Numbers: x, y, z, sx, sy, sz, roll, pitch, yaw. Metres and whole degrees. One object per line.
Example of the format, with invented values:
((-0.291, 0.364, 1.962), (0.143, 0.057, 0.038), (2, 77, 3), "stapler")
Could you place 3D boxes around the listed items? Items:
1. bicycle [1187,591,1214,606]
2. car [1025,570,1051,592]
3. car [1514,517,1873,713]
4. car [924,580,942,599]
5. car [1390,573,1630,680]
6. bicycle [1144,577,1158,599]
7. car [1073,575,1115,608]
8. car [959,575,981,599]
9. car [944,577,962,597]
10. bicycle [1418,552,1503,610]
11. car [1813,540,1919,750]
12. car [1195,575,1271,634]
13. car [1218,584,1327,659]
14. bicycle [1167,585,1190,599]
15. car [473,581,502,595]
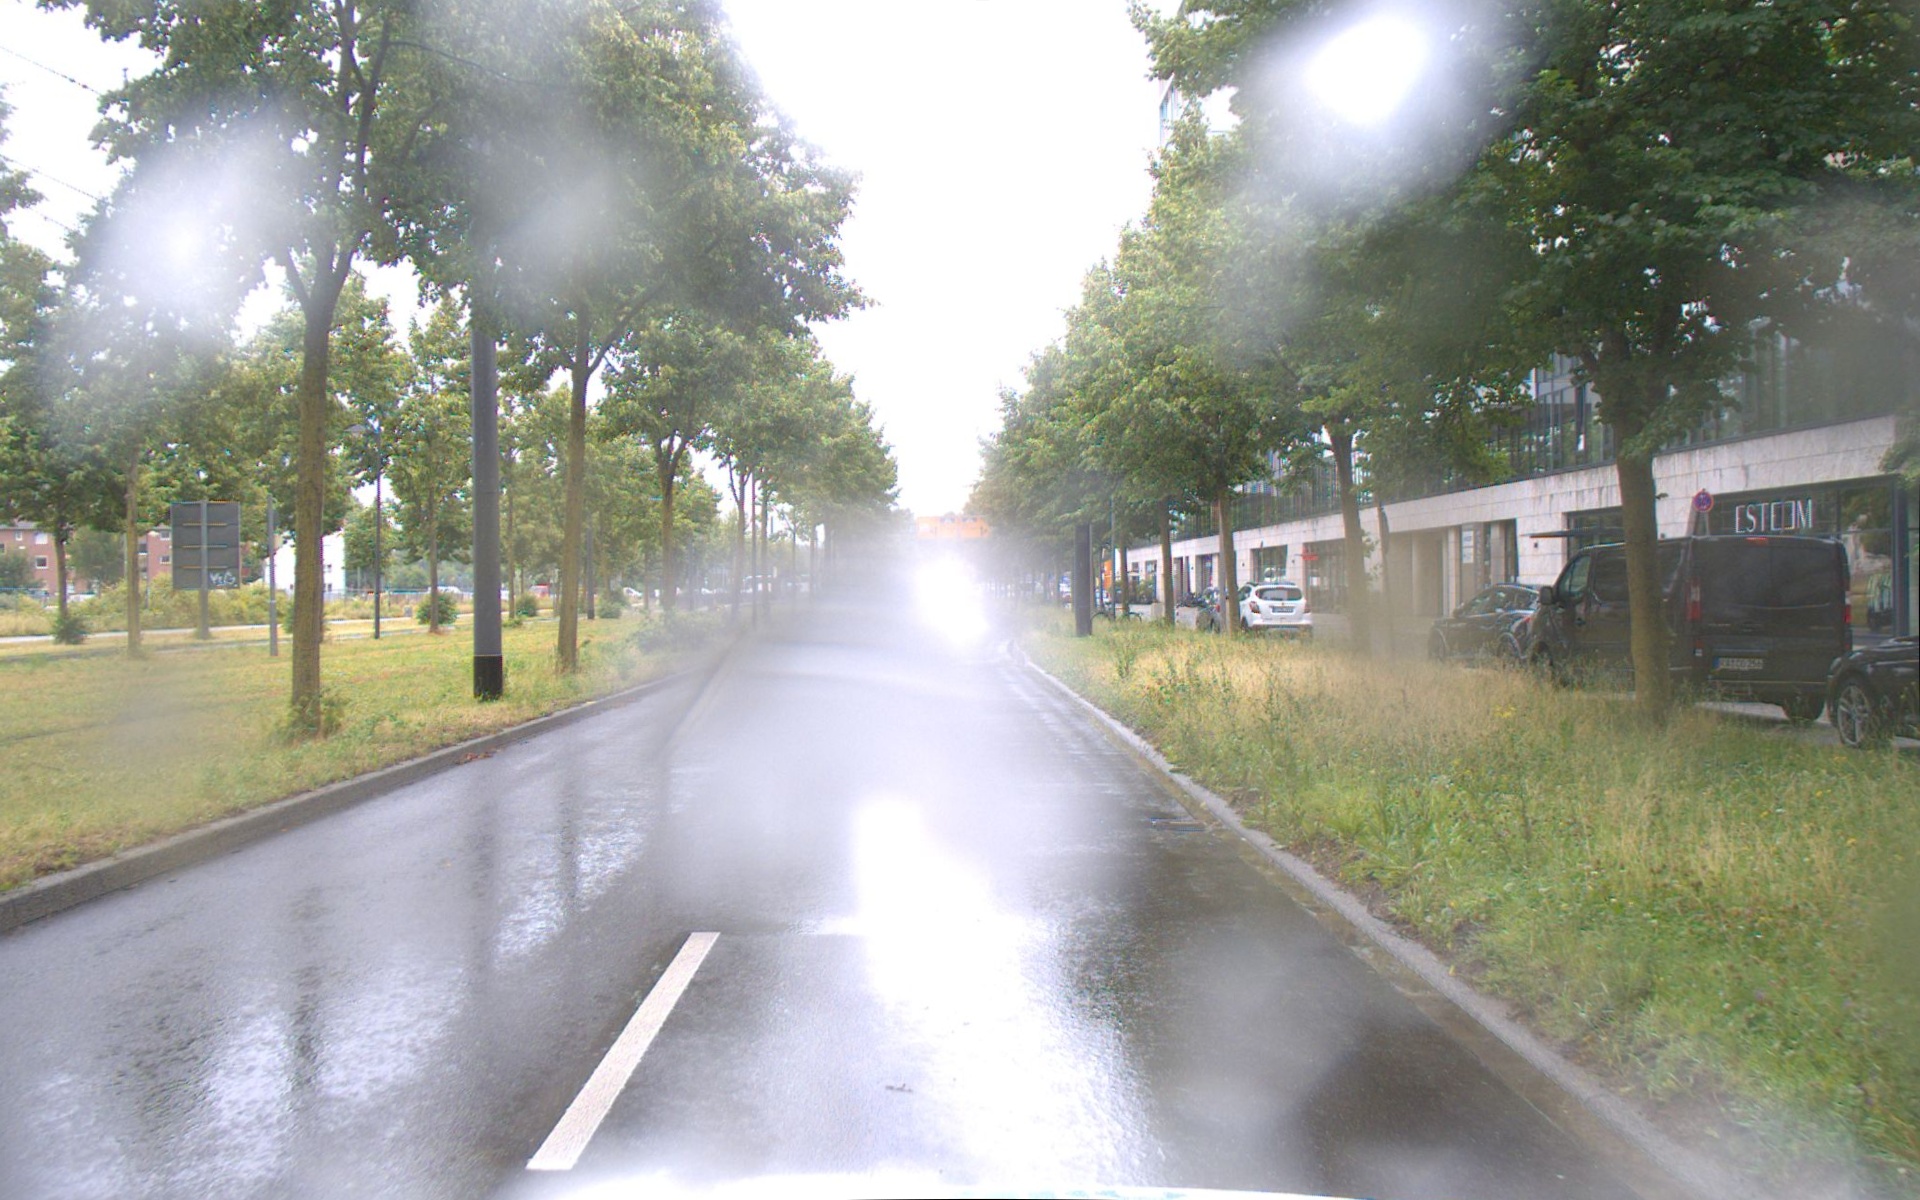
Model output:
((16.660, -0.117, 114.669), (1.769, 1.046, 0.401), (-1, 0, 1), "bicycle")
((6.510, -1.571, 138.780), (1.867, 1.822, 4.687), (-1, 1, -1), "car")
((8.373, 0.030, 19.498), (1.953, 1.986, 5.030), (-1, 3, -1), "car")
((-3.251, -1.271, 201.373), (1.952, 2.048, 4.002), (-1, 3, 1), "car")
((8.707, 0.373, 26.631), (1.919, 1.539, 4.475), (-1, 0, -7), "car")
((16.064, -1.001, 139.227), (0.756, 1.752, 3.120), (-1, 3, -1), "bicycle")
((7.248, -0.484, 89.832), (1.843, 1.532, 4.724), (-1, 3, -1), "car")
((0.875, -1.187, 150.763), (1.901, 2.048, 4.001), (-1, 3, -1), "car")
((-0.767, -1.444, 181.906), (1.849, 2.048, 4.001), (-1, 3, -1), "car")
((16.855, -0.638, 55.739), (2.623, 1.893, 0.707), (-1, 1, 4), "bicycle")
((8.756, 0.376, 12.560), (1.953, 1.698, 4.958), (-1, 2, -1), "car")
((8.010, 0.102, 48.822), (1.592, 1.516, 3.656), (-1, 3, -1), "car")
((8.248, 0.516, 44.092), (1.953, 1.698, 4.724), (-1, 3, -1), "car")
((16.020, -0.585, 121.419), (1.659, 1.046, 0.423), (-1, 0, 1), "bicycle")
((-63.340, -1.612, 221.794), (3.487, 1.768, 1.693), (-2, 3, -25), "car")
